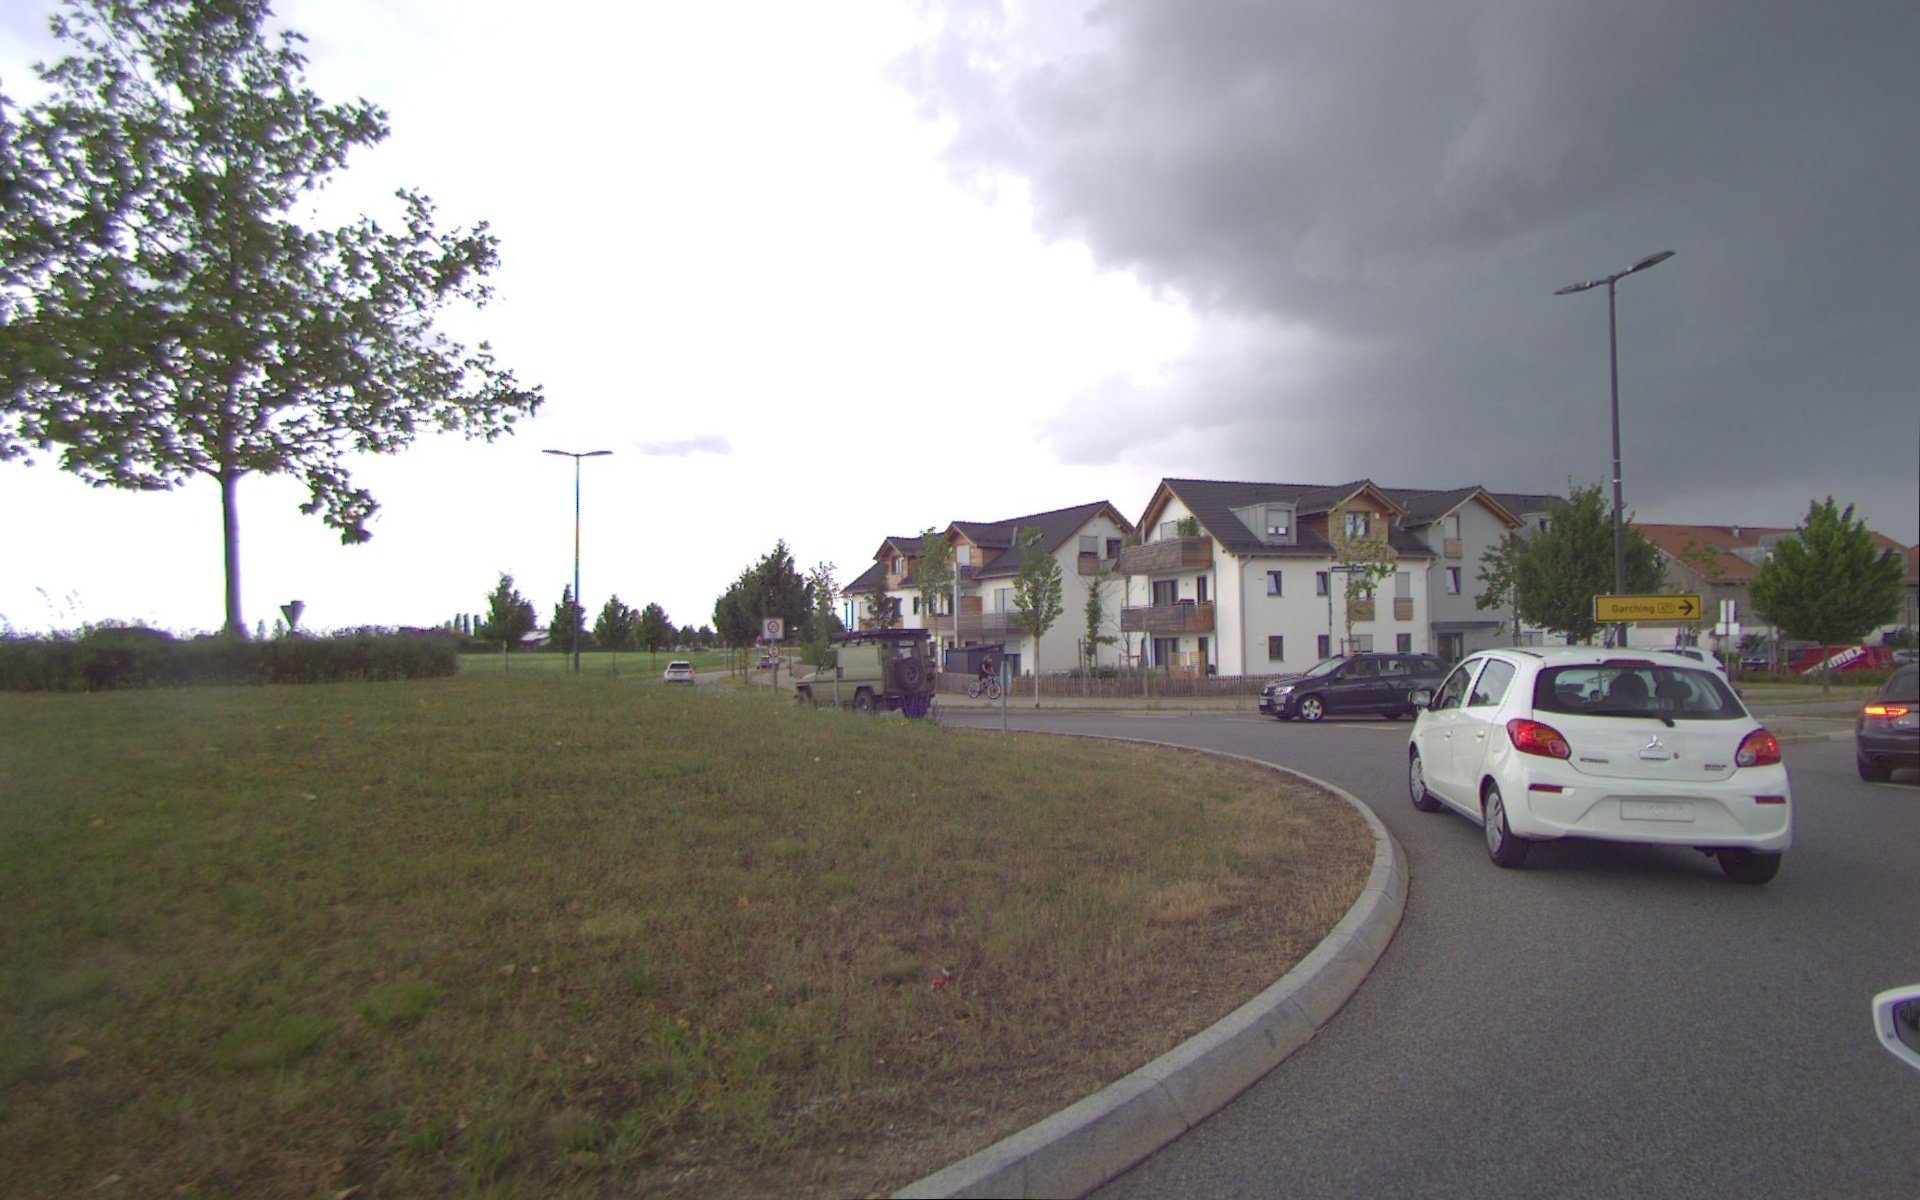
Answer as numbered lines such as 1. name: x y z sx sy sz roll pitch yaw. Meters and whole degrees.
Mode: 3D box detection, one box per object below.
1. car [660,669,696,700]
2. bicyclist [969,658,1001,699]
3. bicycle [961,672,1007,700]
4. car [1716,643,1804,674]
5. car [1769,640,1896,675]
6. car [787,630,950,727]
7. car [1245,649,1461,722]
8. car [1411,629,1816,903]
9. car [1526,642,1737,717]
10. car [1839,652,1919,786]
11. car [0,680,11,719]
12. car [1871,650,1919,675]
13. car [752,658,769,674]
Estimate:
1. car: -16.409 4.902 58.578 1.827 1.661 3.991 1 -3 -13
2. bicyclist: 0.896 2.846 36.387 0.856 1.465 0.722 -4 -4 37
3. bicycle: 0.869 3.121 36.328 1.687 0.958 0.495 -4 -5 38
4. car: 48.554 3.526 60.993 4.391 1.795 1.994 1 -3 -16
5. car: 44.236 2.885 51.069 1.968 1.702 4.530 1 -2 -17
6. car: -2.454 1.947 26.126 1.984 2.283 4.517 2 -3 -41
7. car: 8.847 1.931 22.852 4.196 1.584 1.774 0 -4 -2
8. car: 4.532 1.010 7.547 1.600 1.539 3.401 0 -2 16
9. car: 15.714 1.817 23.543 4.378 1.647 1.708 1 -2 -17
10. car: 12.045 1.337 11.803 4.094 1.410 1.771 2 -3 -37
11. car: -41.980 4.163 41.502 3.801 1.627 1.734 -1 -2 -3
12. car: 52.187 3.387 54.343 1.816 1.332 3.907 1 -2 -22
13. car: -21.202 6.933 106.486 1.734 1.579 3.992 1 -2 -12
